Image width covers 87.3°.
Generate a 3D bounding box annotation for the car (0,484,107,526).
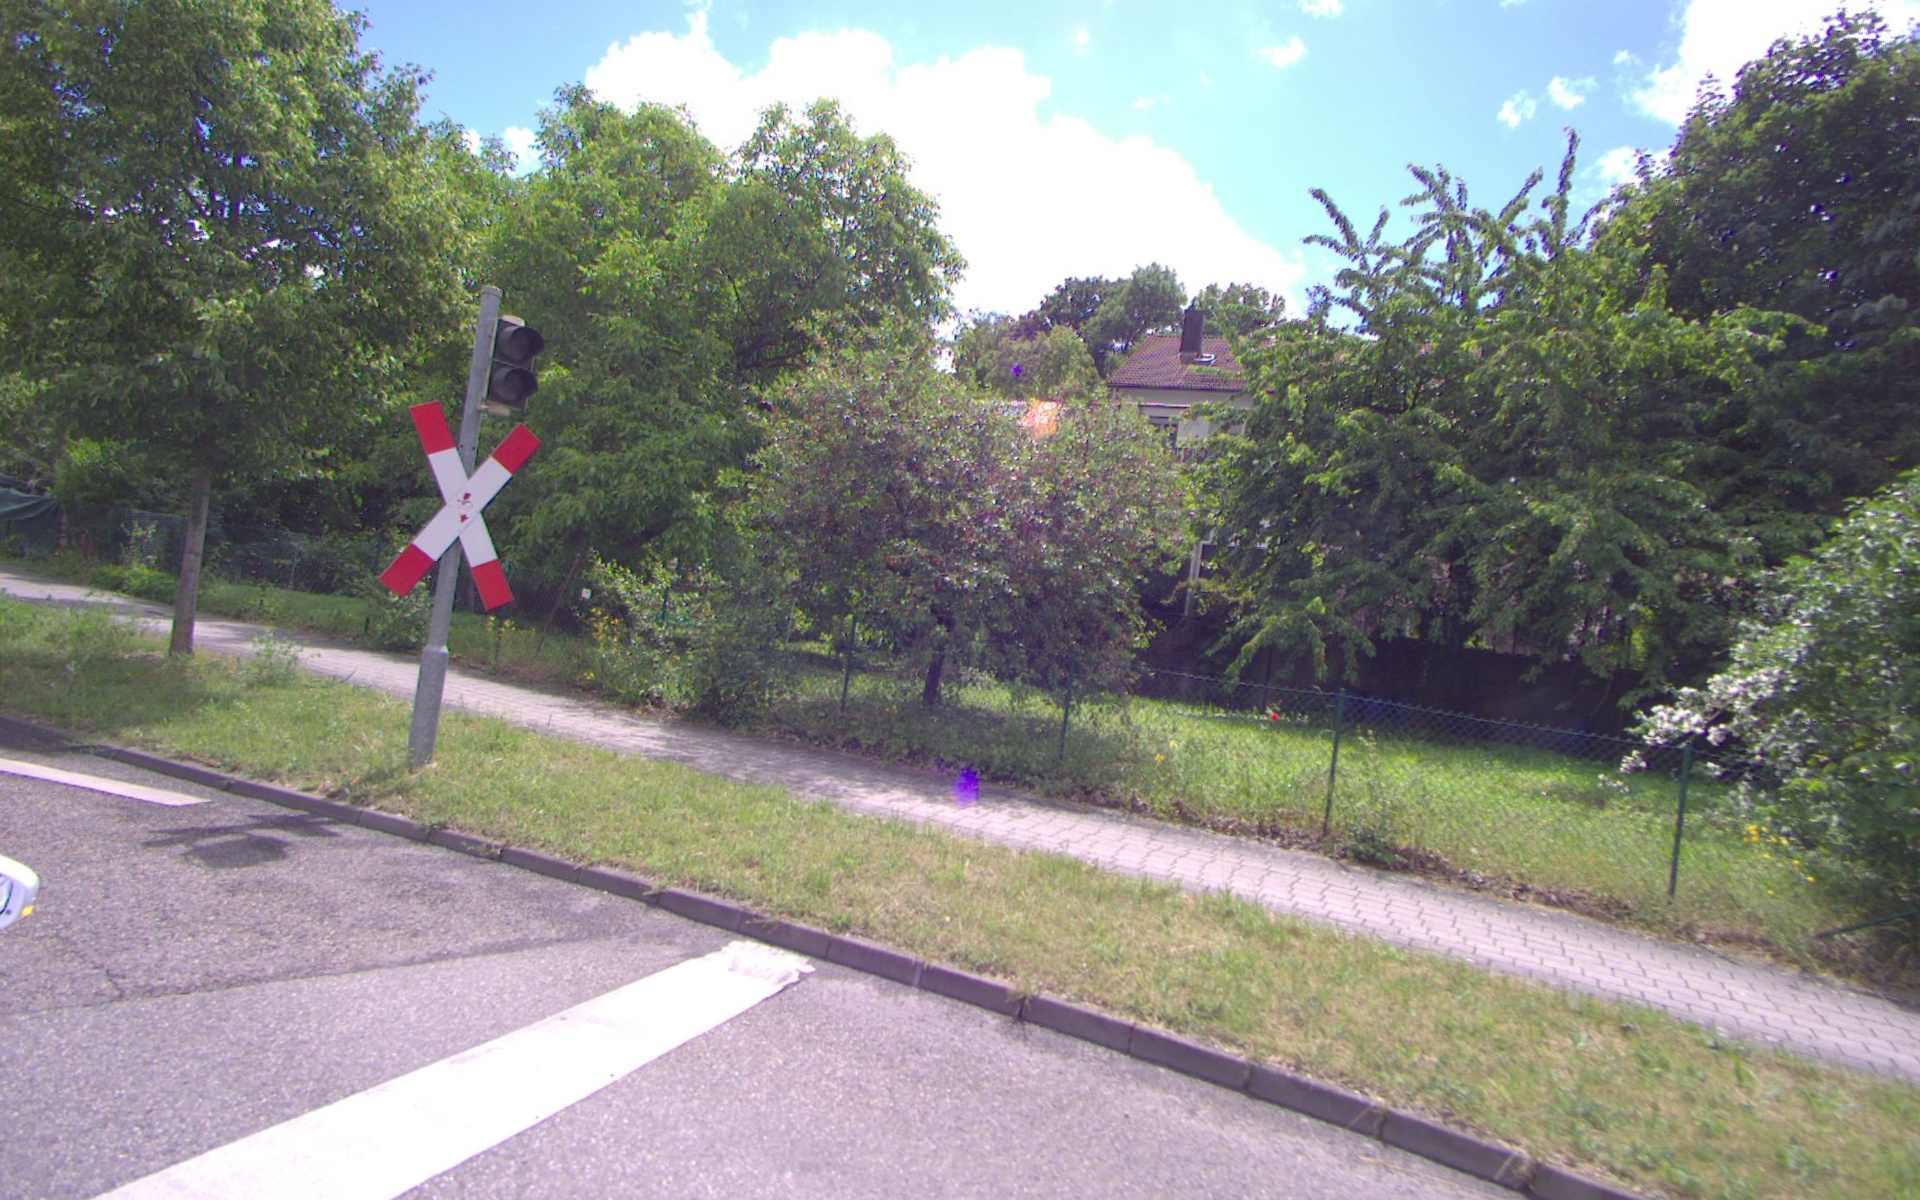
[{"bbox_3d":[-48.701,-5.066,53.785,4.509,1.693,1.975,4,0,-45],"label":"car"}]
